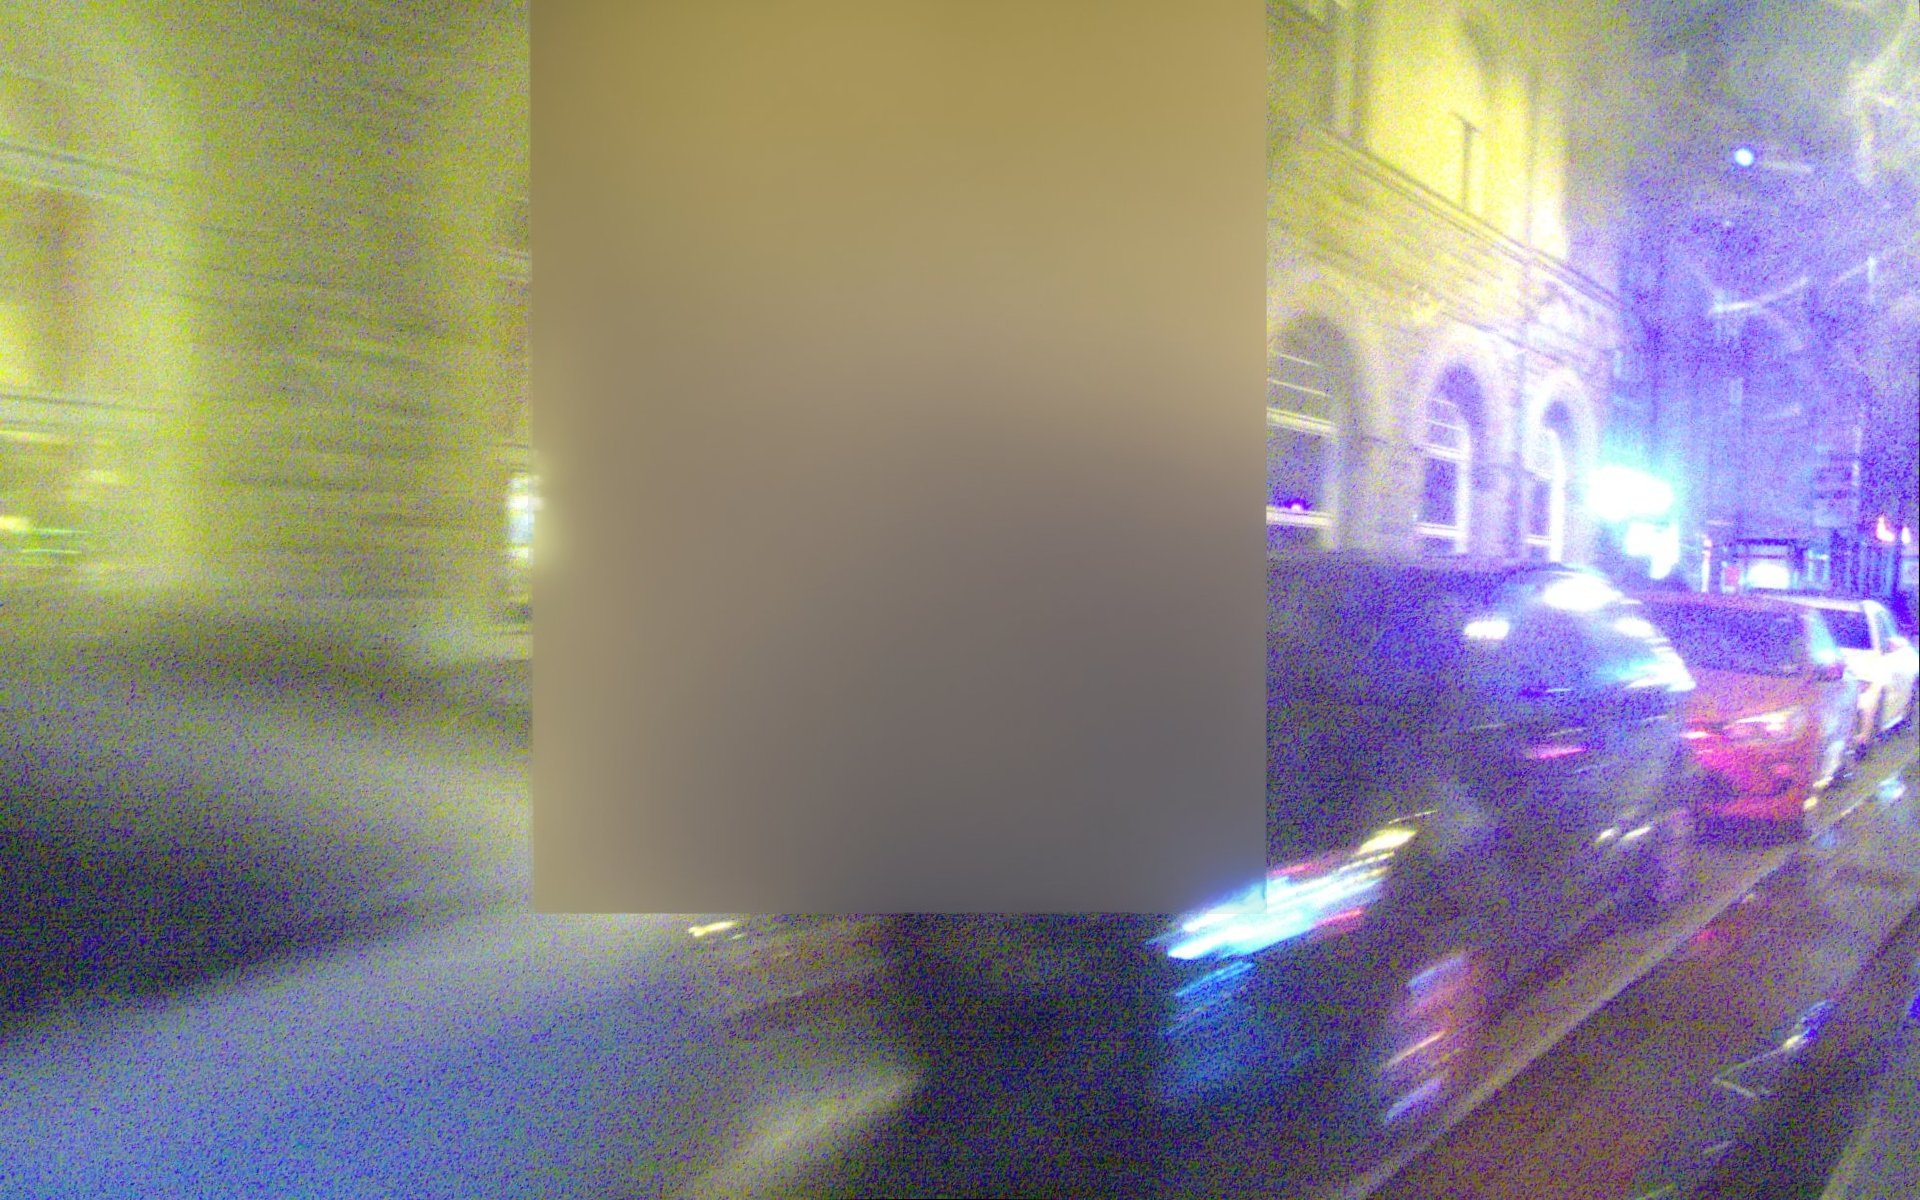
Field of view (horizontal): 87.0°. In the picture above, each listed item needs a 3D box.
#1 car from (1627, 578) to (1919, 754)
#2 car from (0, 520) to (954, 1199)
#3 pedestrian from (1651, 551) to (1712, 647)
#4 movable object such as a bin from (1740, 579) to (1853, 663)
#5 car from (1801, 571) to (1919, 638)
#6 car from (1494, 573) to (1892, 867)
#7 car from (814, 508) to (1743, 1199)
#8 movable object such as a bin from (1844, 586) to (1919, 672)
[{"bbox_3d":[9.074,0.536,10.942,4.339,1.482,1.997,-1,2,-41],"label":"car"},{"bbox_3d":[-2.118,0.609,1.031,3.931,1.429,1.921,0,3,-42],"label":"car"},{"bbox_3d":[14.076,-0.032,19.743,0.612,1.810,0.705,2,3,-37],"label":"pedestrian"},{"bbox_3d":[15.386,0.351,18.638,1.029,1.447,1.315,0,2,-31],"label":"movable object such as a bin"},{"bbox_3d":[25.302,0.193,26.656,1.749,1.548,4.524,0,6,-41],"label":"car"},{"bbox_3d":[5.421,0.599,7.291,3.828,1.517,1.691,-1,3,-45],"label":"car"},{"bbox_3d":[1.518,0.525,3.929,3.824,1.517,1.693,0,3,-41],"label":"car"},{"bbox_3d":[16.746,0.495,17.808,1.321,1.447,1.196,1,2,13],"label":"movable object such as a bin"}]
